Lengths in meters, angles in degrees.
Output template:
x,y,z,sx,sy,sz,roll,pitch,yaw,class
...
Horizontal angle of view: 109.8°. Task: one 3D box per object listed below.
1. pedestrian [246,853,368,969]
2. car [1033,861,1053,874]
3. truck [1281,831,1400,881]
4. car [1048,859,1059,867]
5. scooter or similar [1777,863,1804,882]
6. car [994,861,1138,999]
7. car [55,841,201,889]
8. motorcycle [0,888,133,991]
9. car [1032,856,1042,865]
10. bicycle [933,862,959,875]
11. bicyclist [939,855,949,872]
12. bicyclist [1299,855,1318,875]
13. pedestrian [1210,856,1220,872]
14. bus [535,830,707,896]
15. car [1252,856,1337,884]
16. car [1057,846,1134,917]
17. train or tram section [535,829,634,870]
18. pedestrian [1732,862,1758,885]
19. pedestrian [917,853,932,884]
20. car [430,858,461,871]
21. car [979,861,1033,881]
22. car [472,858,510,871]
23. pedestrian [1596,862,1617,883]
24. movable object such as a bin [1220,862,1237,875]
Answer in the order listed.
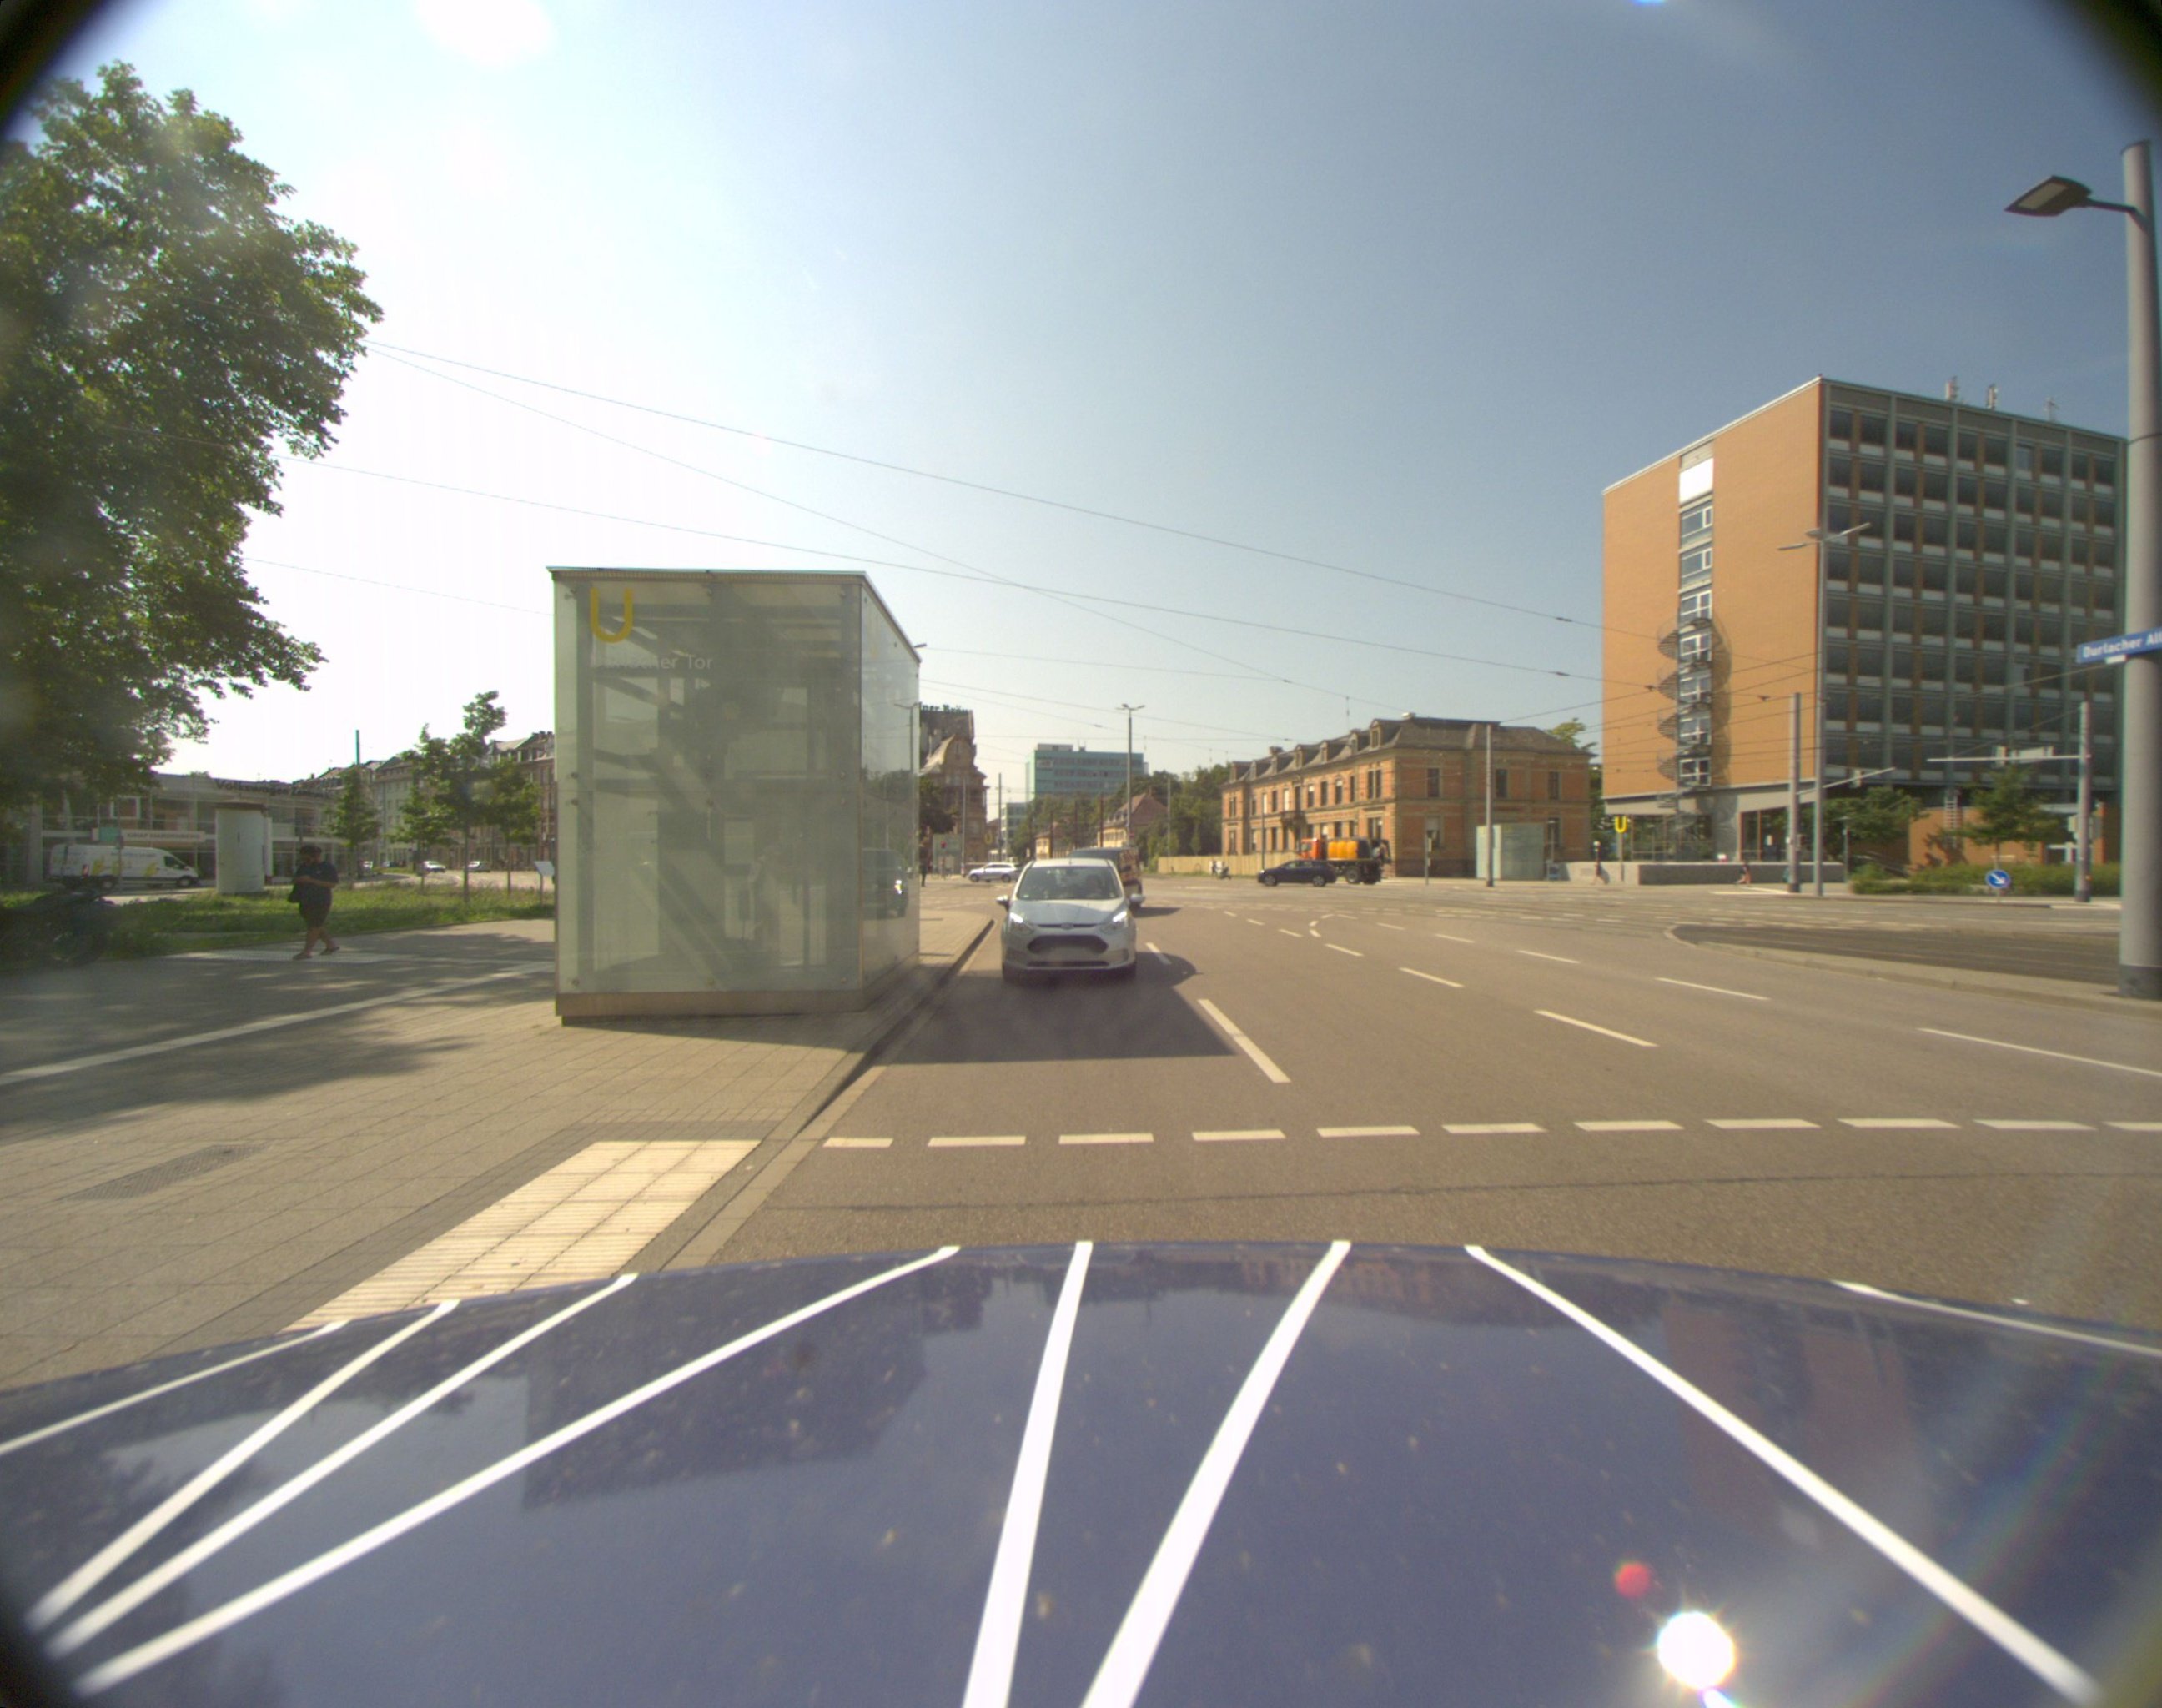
x,y,z,sx,sy,sz,roll,pitch,yaw,class
-11.215,0.792,11.054,0.793,1.600,0.949,0,1,-4,pedestrian
-3.880,1.418,77.813,1.588,1.280,3.725,1,-2,-9,car
17.632,0.265,52.088,3.049,3.209,7.172,1,-2,-39,truck
-5.882,1.997,162.717,2.000,1.673,3.998,0,-2,-9,car
44.821,1.157,48.010,1.143,1.150,0.444,0,0,14,scooter or similar
-0.259,0.910,11.139,1.692,1.585,4.360,0,0,-2,car
-54.935,0.686,44.004,1.847,2.568,5.218,0,-2,-1,car
-12.880,1.011,8.837,0.911,1.130,2.114,0,0,12,motorcycle
-10.388,1.514,180.264,2.000,1.892,3.998,0,-2,-9,car
-11.399,1.239,64.195,2.124,1.105,0.441,0,1,10,bicycle
-11.613,0.805,64.201,0.643,1.472,0.659,0,0,9,bicyclist
14.467,0.701,48.289,1.103,1.258,0.858,0,0,20,bicyclist
11.072,0.827,62.694,0.815,1.343,0.720,0,0,7,pedestrian
-24.222,0.446,39.634,12.047,3.046,2.740,0,0,33,bus
12.744,0.912,45.253,4.688,1.631,2.003,0,0,22,car
0.562,0.738,23.128,1.898,1.919,4.888,0,0,7,car
-45.579,-0.425,69.570,12.182,3.540,2.601,0,0,32,train or tram section
39.592,1.152,45.290,0.847,1.386,0.787,0,0,2,pedestrian
-8.805,0.813,42.743,0.719,1.677,0.804,-3,-1,-13,pedestrian
-78.654,1.315,94.093,1.785,1.580,3.838,0,0,-21,car
-5.322,1.157,53.537,3.498,1.331,1.520,0,1,27,car
-75.299,1.352,97.036,1.781,1.580,3.845,0,0,1,car
33.894,1.190,49.012,0.847,1.386,0.787,0,0,2,pedestrian
12.080,1.206,62.275,1.035,1.078,0.822,-1,-2,41,movable object such as a bin
